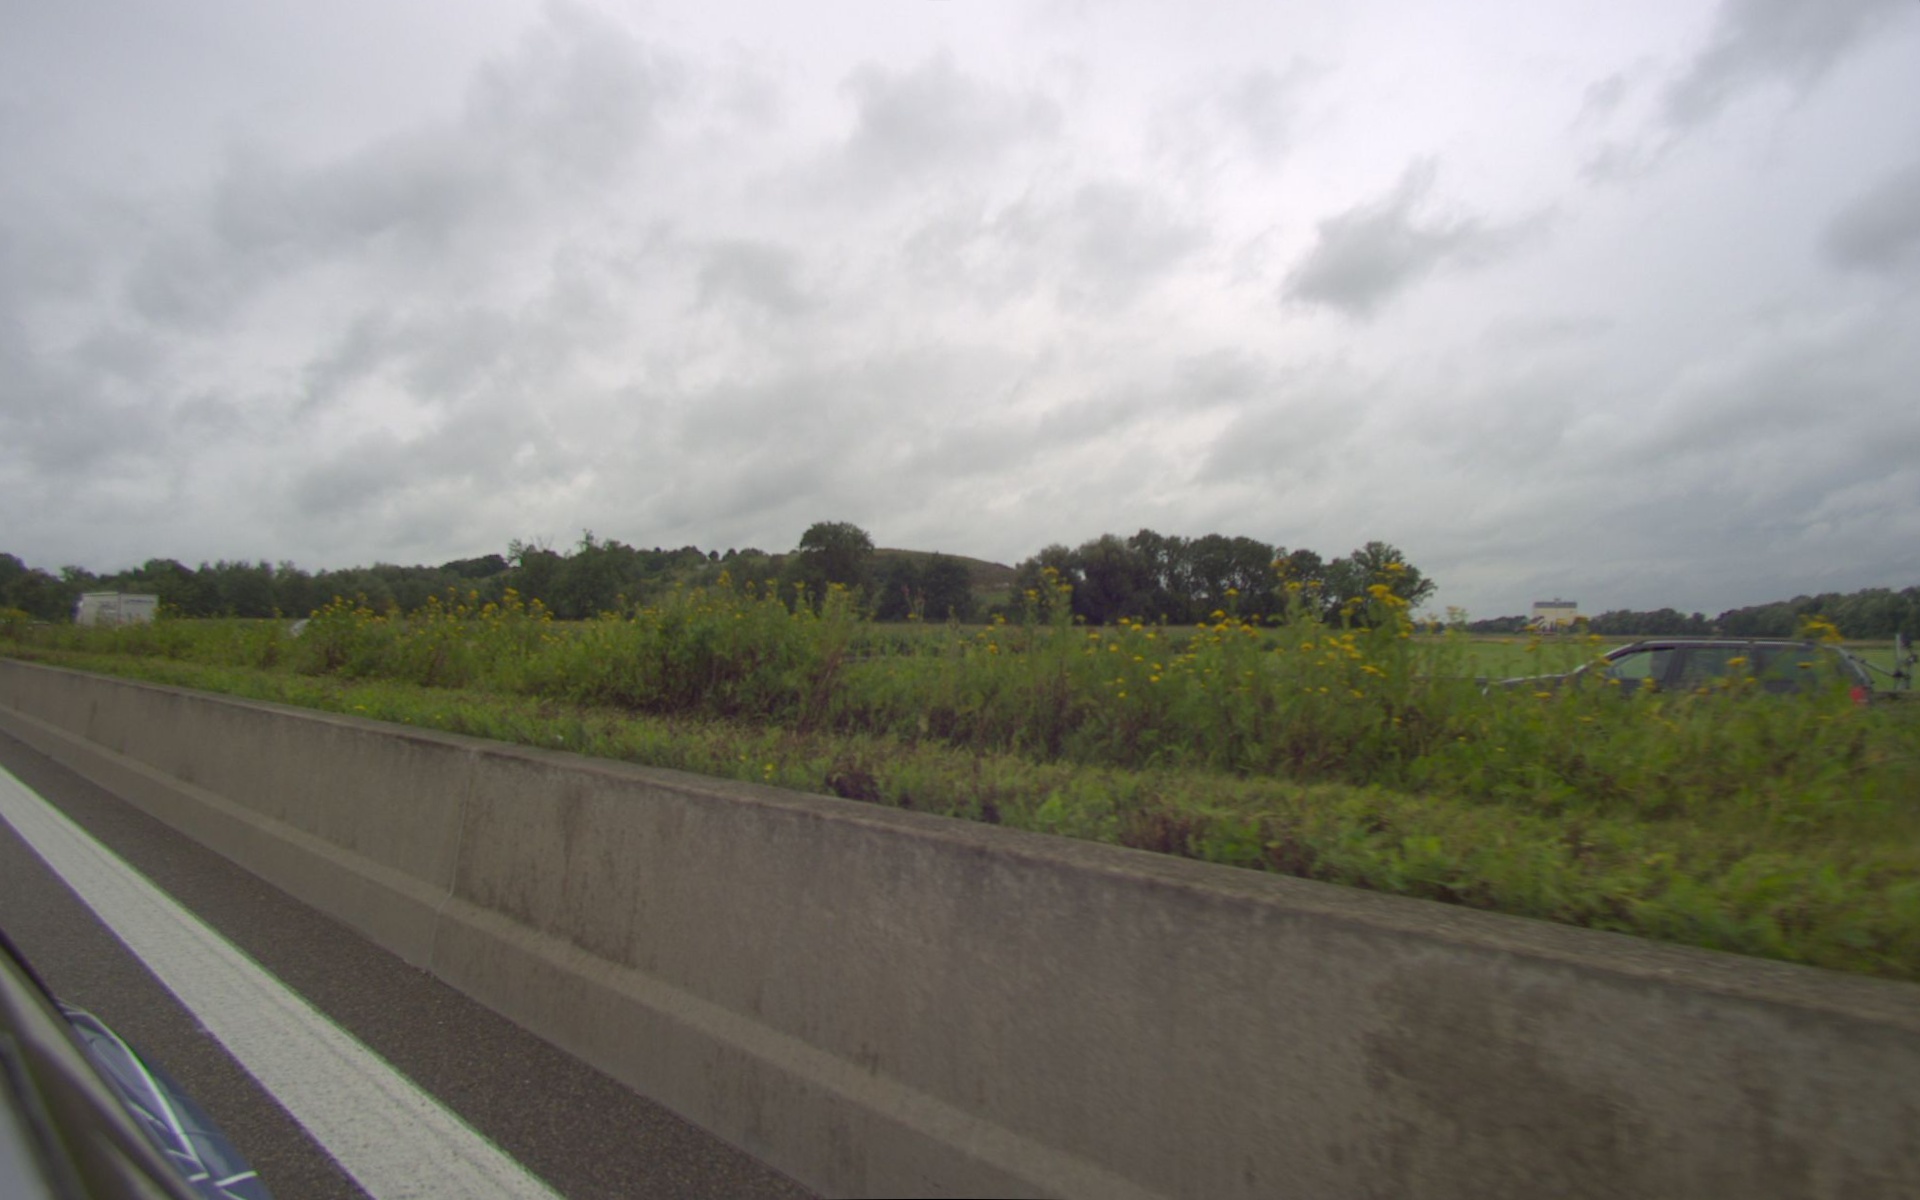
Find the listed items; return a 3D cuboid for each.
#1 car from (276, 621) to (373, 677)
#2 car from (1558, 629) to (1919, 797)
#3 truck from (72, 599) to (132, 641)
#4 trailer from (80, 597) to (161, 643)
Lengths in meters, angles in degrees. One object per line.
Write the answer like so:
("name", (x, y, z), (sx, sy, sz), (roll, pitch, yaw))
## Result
("car", (-24.806, 1.880, 39.437), (4.345, 2.029, 1.973), (-1, -3, 41))
("car", (9.789, 1.278, 12.524), (3.859, 1.788, 1.780), (-1, -3, 41))
("truck", (-73.006, 1.685, 86.070), (5.623, 3.454, 2.940), (-1, 0, 40))
("trailer", (-67.959, 1.550, 81.752), (13.233, 3.454, 2.885), (-1, 0, 41))
